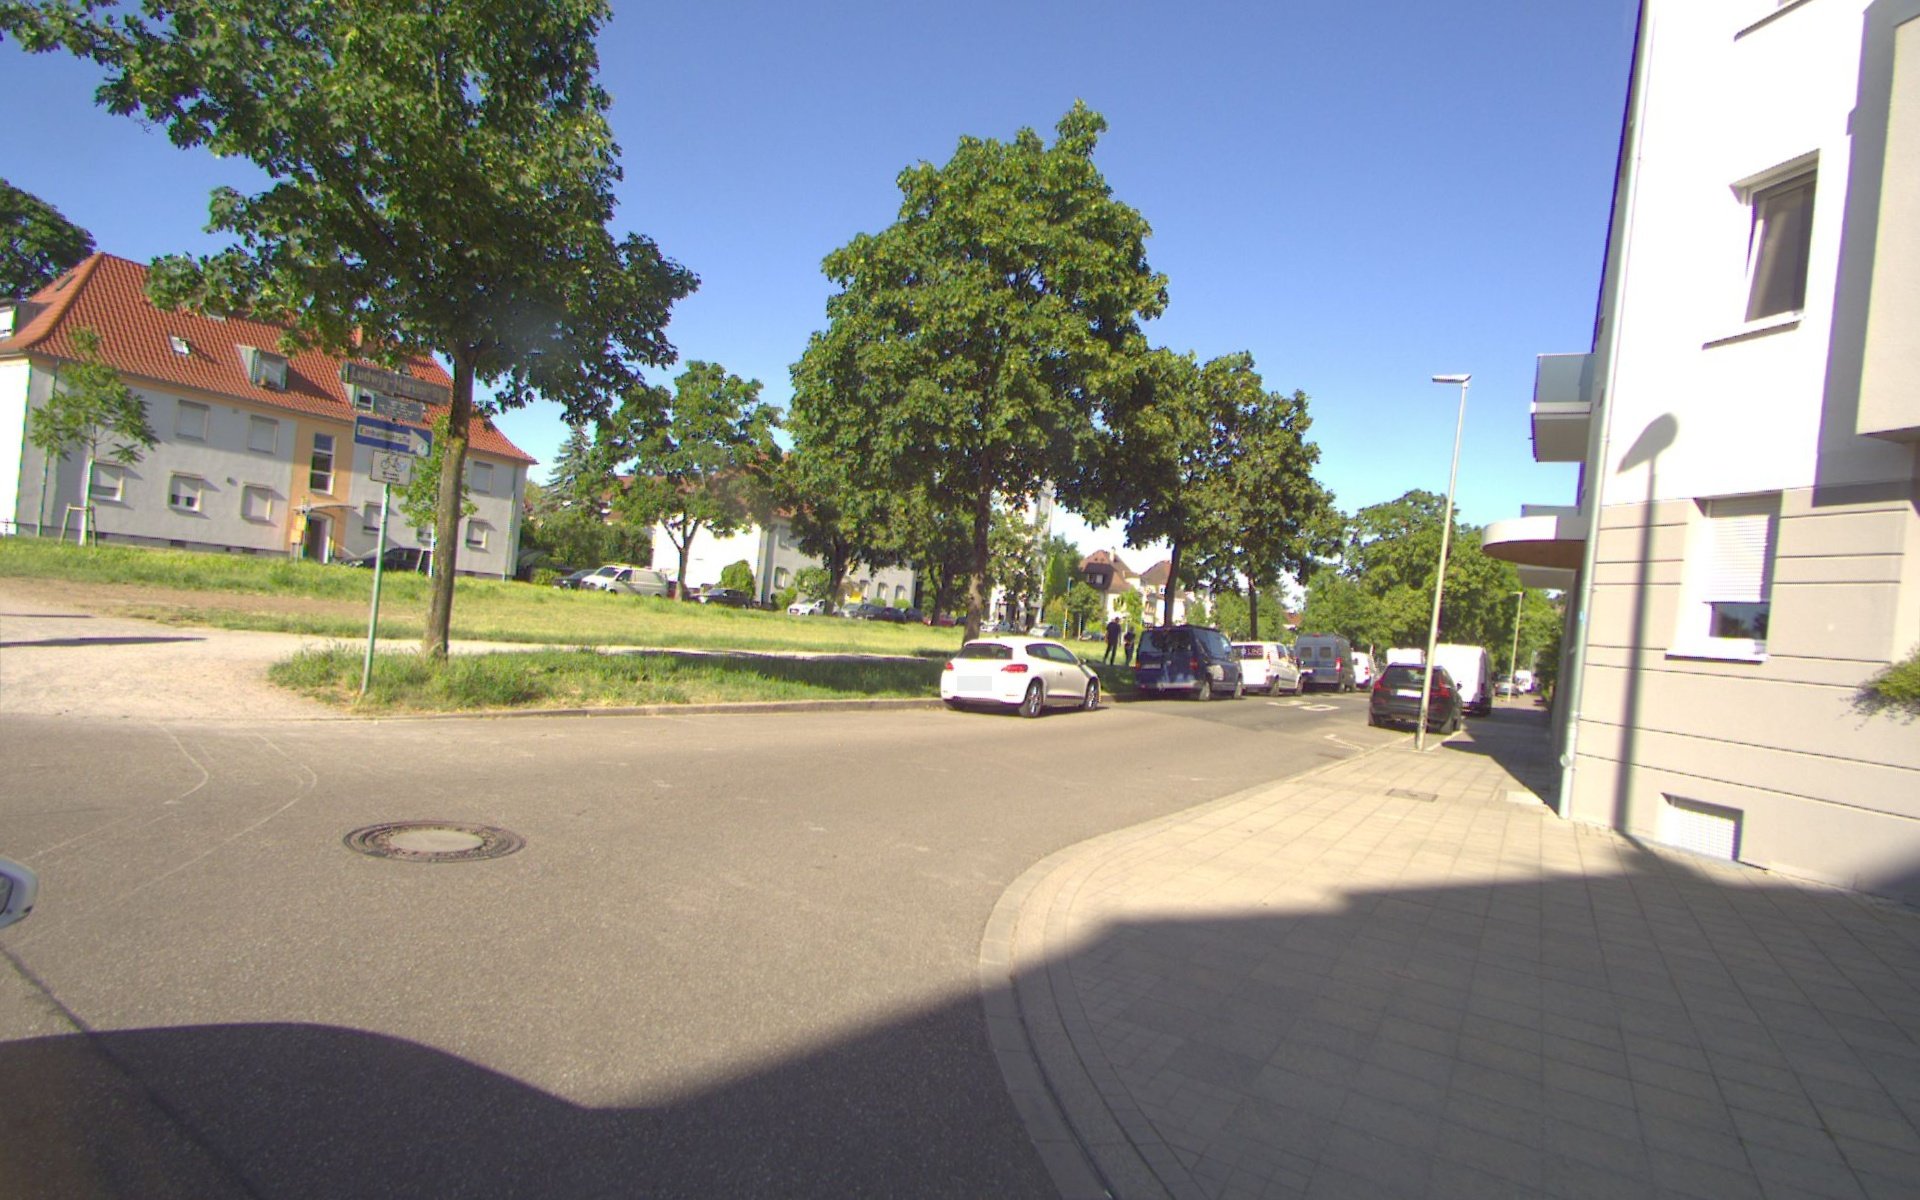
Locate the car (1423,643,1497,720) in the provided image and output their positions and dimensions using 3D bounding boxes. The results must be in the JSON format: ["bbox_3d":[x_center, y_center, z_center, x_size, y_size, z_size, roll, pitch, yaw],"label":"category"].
[{"bbox_3d":[18.951,3.043,38.045,1.990,2.580,3.985,5,-1,32],"label":"car"}]

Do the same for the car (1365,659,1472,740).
[{"bbox_3d":[11.735,2.478,25.590,1.865,1.703,4.279,5,-1,32],"label":"car"}]

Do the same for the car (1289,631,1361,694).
[{"bbox_3d":[16.479,2.837,45.339,2.158,2.614,4.279,1,-3,32],"label":"car"}]

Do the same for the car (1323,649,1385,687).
[{"bbox_3d":[20.014,3.483,51.023,2.051,1.618,4.279,6,0,32],"label":"car"}]

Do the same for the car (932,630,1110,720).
[{"bbox_3d":[1.271,1.404,19.027,1.712,1.450,3.987,1,-3,31],"label":"car"}]

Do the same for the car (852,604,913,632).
[{"bbox_3d":[-5.504,1.329,72.464,1.966,1.543,4.748,6,-1,29],"label":"car"}]

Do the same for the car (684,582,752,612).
[{"bbox_3d":[-15.171,-0.154,63.290,1.693,1.459,4.132,6,0,31],"label":"car"}]

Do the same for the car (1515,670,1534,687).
[{"bbox_3d":[73.297,10.204,130.630,1.835,1.869,3.984,9,2,32],"label":"car"}]

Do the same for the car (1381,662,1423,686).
[{"bbox_3d":[29.642,4.988,67.427,1.903,1.361,4.101,6,-1,32],"label":"car"}]

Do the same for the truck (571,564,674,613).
[{"bbox_3d":[-17.643,-0.571,52.821,1.966,2.061,4.865,6,0,30],"label":"truck"}]

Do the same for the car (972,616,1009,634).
[{"bbox_3d":[2.911,2.365,95.431,1.693,1.358,3.801,6,0,31],"label":"car"}]

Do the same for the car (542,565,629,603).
[{"bbox_3d":[-20.151,-0.825,54.301,1.693,1.602,4.132,6,0,31],"label":"car"}]

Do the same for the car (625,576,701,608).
[{"bbox_3d":[-17.459,-0.454,59.293,1.693,1.459,4.132,6,0,31],"label":"car"}]

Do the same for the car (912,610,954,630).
[{"bbox_3d":[-2.265,1.706,85.590,1.693,1.358,3.801,6,0,31],"label":"car"}]

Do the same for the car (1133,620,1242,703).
[{"bbox_3d":[6.452,1.748,28.231,1.756,2.108,3.986,1,-3,32],"label":"car"}]

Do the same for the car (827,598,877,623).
[{"bbox_3d":[-8.105,0.807,75.531,1.693,1.517,3.801,6,0,31],"label":"car"}]

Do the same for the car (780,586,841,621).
[{"bbox_3d":[-10.535,0.290,71.321,1.840,2.038,4.247,6,-1,31],"label":"car"}]

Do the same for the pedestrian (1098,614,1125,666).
[{"bbox_3d":[5.700,1.501,37.765,0.633,1.900,0.628,6,1,30],"label":"pedestrian"}]

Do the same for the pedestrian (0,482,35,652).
[{"bbox_3d":[-10.138,-0.350,9.992,0.896,1.698,1.088,6,5,14],"label":"pedestrian"}]

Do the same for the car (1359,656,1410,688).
[{"bbox_3d":[25.736,4.362,60.938,2.051,1.618,4.279,6,0,32],"label":"car"}]

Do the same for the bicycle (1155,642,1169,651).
[{"bbox_3d":[26.278,6.067,130.791,1.036,0.949,2.761,6,-1,26],"label":"bicycle"}]

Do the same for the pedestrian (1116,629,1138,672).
[{"bbox_3d":[6.196,1.872,37.228,0.488,1.524,0.534,6,1,31],"label":"pedestrian"}]

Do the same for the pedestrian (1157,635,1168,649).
[{"bbox_3d":[26.335,5.418,130.756,1.035,1.731,0.692,6,1,26],"label":"pedestrian"}]

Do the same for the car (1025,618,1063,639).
[{"bbox_3d":[8.195,2.794,97.614,1.857,1.628,4.238,6,0,31],"label":"car"}]

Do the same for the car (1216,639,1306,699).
[{"bbox_3d":[10.633,2.429,35.329,1.847,1.906,4.412,1,-3,33],"label":"car"}]

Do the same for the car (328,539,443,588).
[{"bbox_3d":[-25.632,-1.589,45.000,1.693,1.684,4.056,6,0,31],"label":"car"}]

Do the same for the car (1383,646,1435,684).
[{"bbox_3d":[32.612,4.755,73.003,2.509,2.362,5.907,6,0,32],"label":"car"}]
